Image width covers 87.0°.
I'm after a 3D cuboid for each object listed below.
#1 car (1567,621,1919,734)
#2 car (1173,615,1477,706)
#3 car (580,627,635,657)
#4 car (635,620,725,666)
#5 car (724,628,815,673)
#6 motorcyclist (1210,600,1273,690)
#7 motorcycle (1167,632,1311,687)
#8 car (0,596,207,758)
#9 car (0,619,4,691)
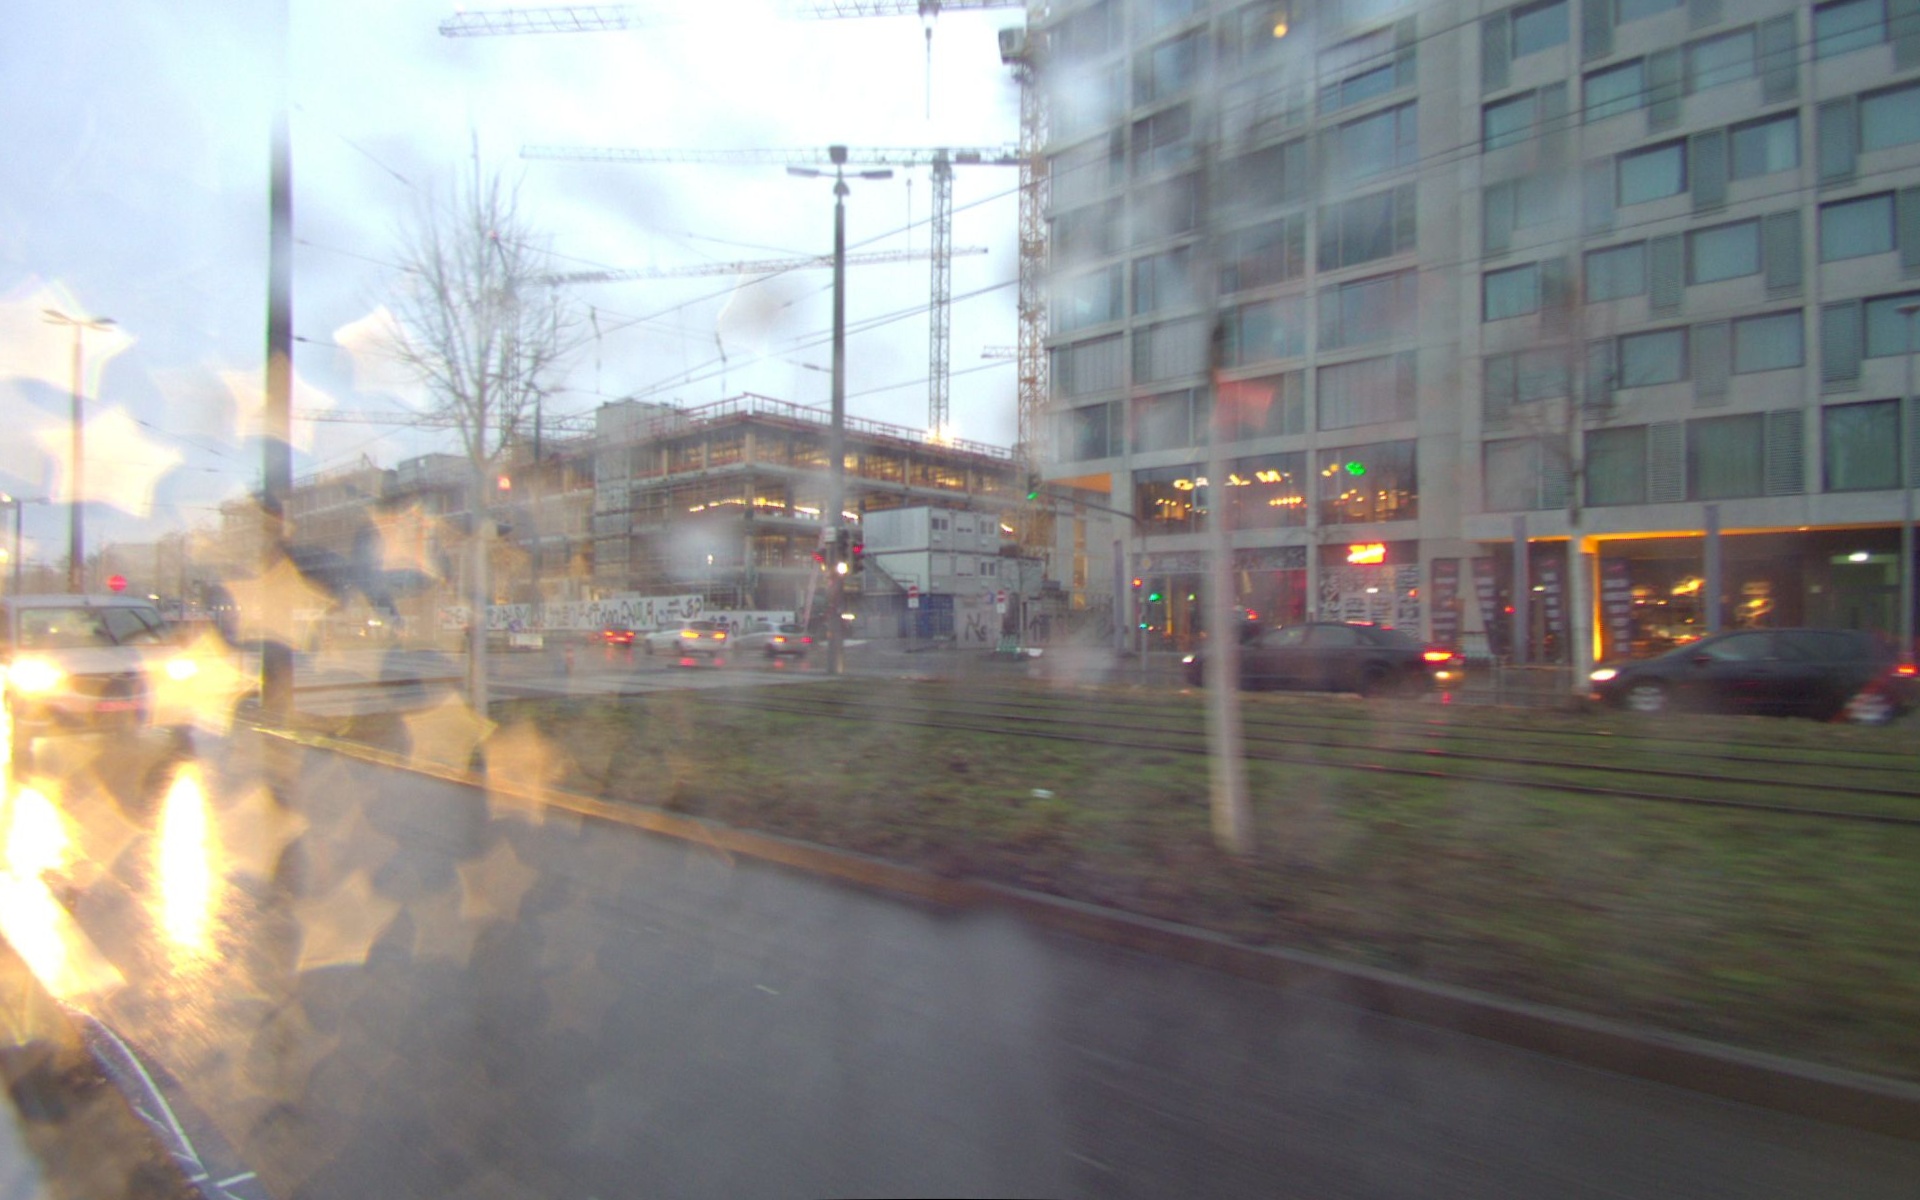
[{"bbox_3d":[12.083,1.068,15.044,5.069,1.473,1.982,-1,0,27],"label":"car"},{"bbox_3d":[6.823,1.043,19.292,5.092,1.473,1.973,-1,0,41],"label":"car"},{"bbox_3d":[-20.434,2.405,58.604,1.857,1.586,4.008,-1,0,-37],"label":"car"},{"bbox_3d":[-12.050,1.782,43.429,1.858,1.803,4.604,0,0,-42],"label":"car"},{"bbox_3d":[-8.402,2.169,44.455,4.176,1.803,1.861,-1,0,43],"label":"car"},{"bbox_3d":[6.131,0.954,22.039,1.033,1.899,0.862,-1,0,41],"label":"motorcyclist"},{"bbox_3d":[6.047,1.258,22.093,2.965,1.064,0.862,-1,0,41],"label":"motorcycle"},{"bbox_3d":[-11.288,0.847,12.886,3.996,1.746,1.835,-1,0,40],"label":"car"},{"bbox_3d":[-24.324,1.297,24.041,4.320,1.666,1.821,-1,0,39],"label":"car"}]
